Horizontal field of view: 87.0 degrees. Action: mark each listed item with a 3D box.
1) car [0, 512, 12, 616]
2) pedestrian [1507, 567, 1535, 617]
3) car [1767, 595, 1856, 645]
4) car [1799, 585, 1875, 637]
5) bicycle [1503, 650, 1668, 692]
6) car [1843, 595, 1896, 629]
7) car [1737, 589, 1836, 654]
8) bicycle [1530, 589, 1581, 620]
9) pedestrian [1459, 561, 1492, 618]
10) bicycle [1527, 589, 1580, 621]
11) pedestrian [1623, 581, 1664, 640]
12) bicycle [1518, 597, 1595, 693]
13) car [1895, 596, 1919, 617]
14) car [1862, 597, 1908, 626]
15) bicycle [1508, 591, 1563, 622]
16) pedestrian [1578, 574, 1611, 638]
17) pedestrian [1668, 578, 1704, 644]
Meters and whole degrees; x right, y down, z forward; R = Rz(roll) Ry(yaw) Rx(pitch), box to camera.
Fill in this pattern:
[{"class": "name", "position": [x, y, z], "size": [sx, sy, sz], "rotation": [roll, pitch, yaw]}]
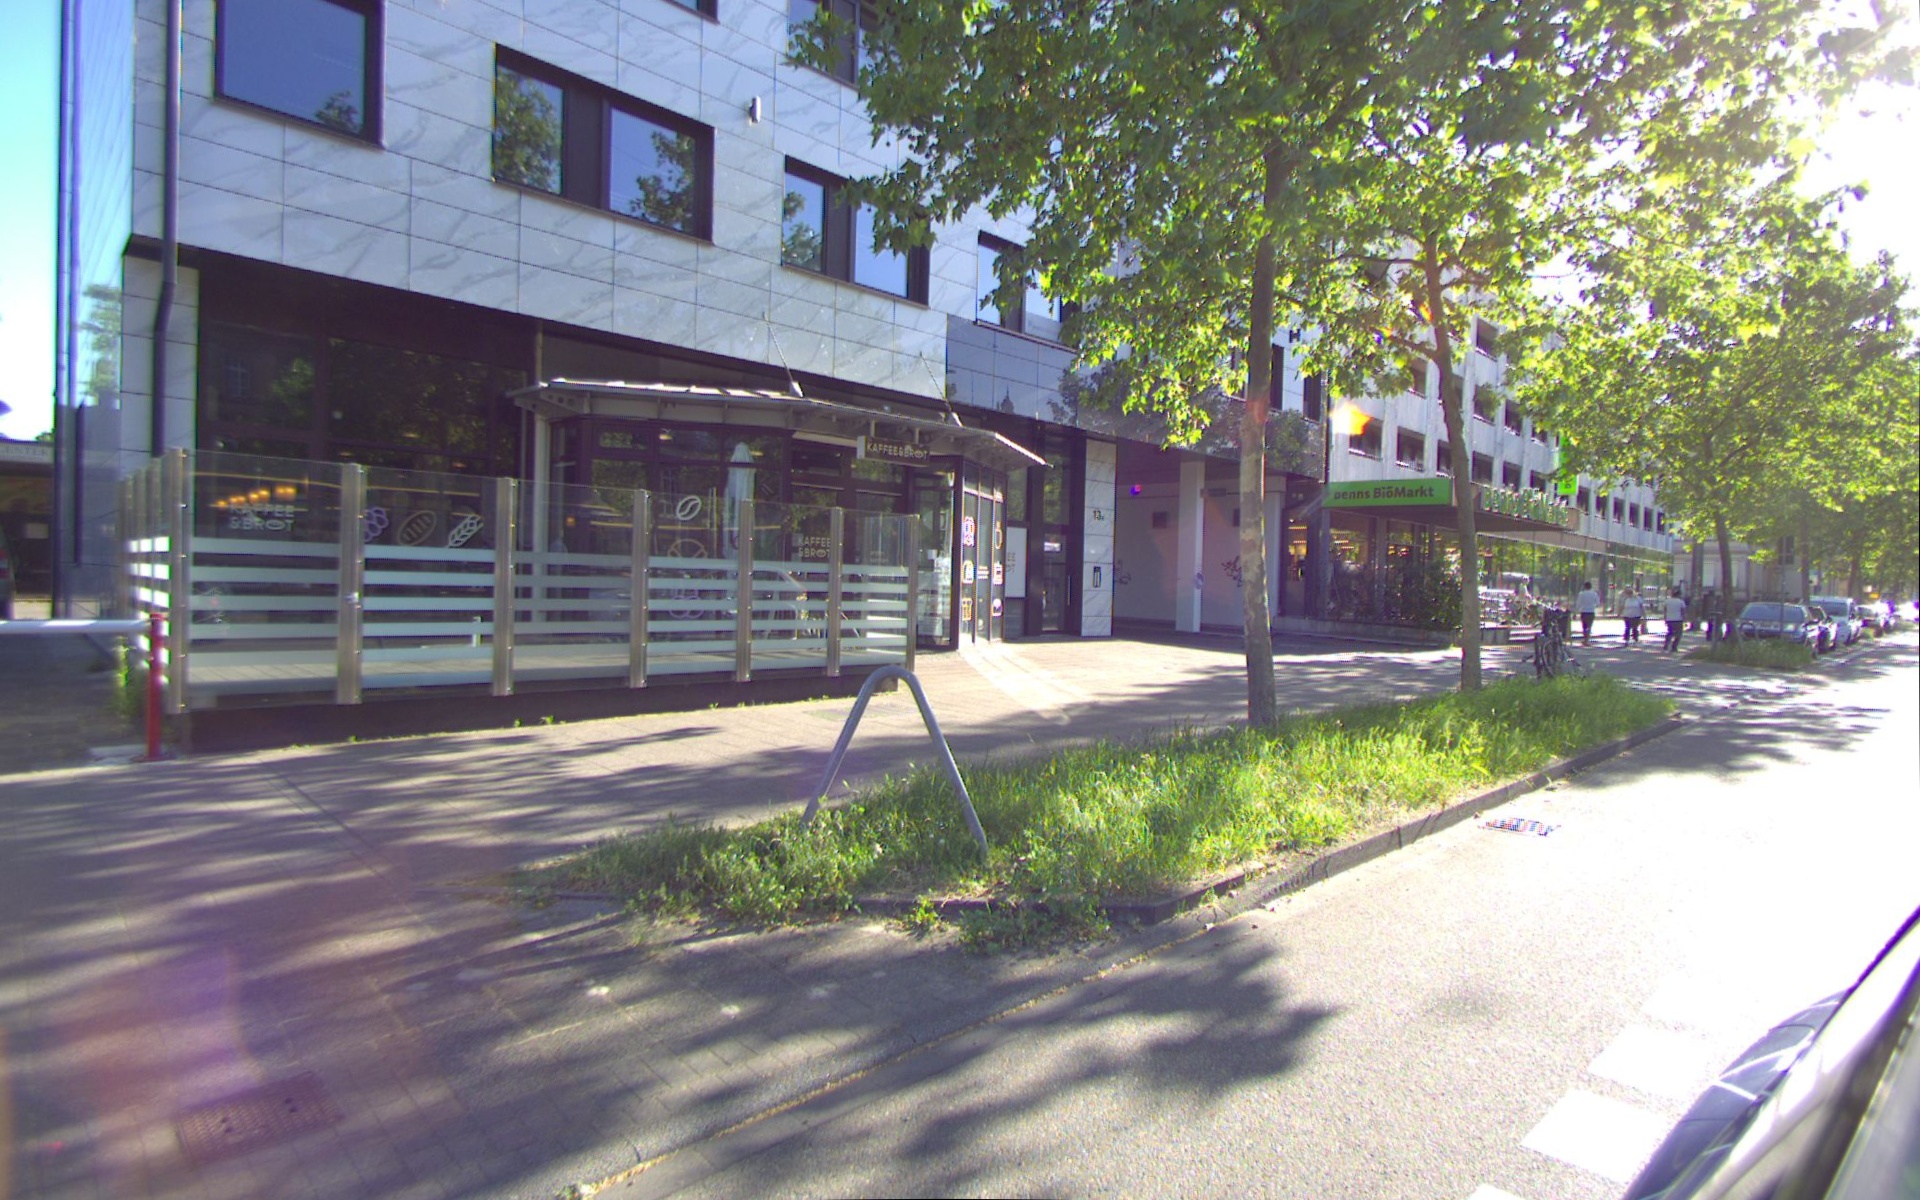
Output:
[{"class": "car", "position": [-17.335, -0.654, 17.350], "size": [1.568, 1.692, 3.614], "rotation": [0, 2, -43]}, {"class": "pedestrian", "position": [20.385, -0.289, 36.769], "size": [0.607, 1.735, 0.609], "rotation": [8, 4, 21]}, {"class": "car", "position": [26.723, 0.563, 31.722], "size": [1.762, 1.436, 4.624], "rotation": [1, 1, 45]}, {"class": "car", "position": [33.319, 0.386, 38.391], "size": [4.320, 1.814, 1.766], "rotation": [0, 2, -44]}, {"class": "bicycle", "position": [8.390, 0.928, 13.592], "size": [1.366, 0.357, 1.610], "rotation": [0, 2, -44]}, {"class": "car", "position": [44.130, 0.560, 49.068], "size": [1.674, 1.455, 3.631], "rotation": [5, 4, 44]}, {"class": "car", "position": [21.873, 0.519, 26.733], "size": [3.934, 1.569, 1.566], "rotation": [0, 1, -44]}, {"class": "bicycle", "position": [23.163, 0.180, 39.398], "size": [0.573, 1.068, 1.710], "rotation": [2, 3, -17]}, {"class": "pedestrian", "position": [15.790, -0.337, 31.001], "size": [0.868, 1.698, 0.558], "rotation": [0, 3, -45]}, {"class": "bicycle", "position": [22.586, 0.190, 38.545], "size": [0.573, 1.068, 1.710], "rotation": [3, 2, -17]}, {"class": "pedestrian", "position": [19.544, 0.287, 28.928], "size": [0.853, 1.632, 0.699], "rotation": [1, 3, -42]}, {"class": "bicycle", "position": [8.008, 0.560, 13.555], "size": [0.785, 1.147, 1.824], "rotation": [2, 2, 33]}, {"class": "car", "position": [73.389, 0.474, 77.972], "size": [4.204, 1.584, 1.835], "rotation": [0, 1, -45]}, {"class": "car", "position": [51.599, 0.598, 56.422], "size": [3.866, 1.459, 1.627], "rotation": [0, 3, -45]}, {"class": "bicycle", "position": [20.192, 0.210, 35.528], "size": [0.573, 0.927, 1.656], "rotation": [5, 2, -17]}, {"class": "pedestrian", "position": [17.912, 0.165, 28.573], "size": [0.864, 1.766, 0.560], "rotation": [0, 2, -45]}, {"class": "pedestrian", "position": [19.471, 0.291, 27.134], "size": [1.035, 1.725, 0.560], "rotation": [0, 2, -45]}]
